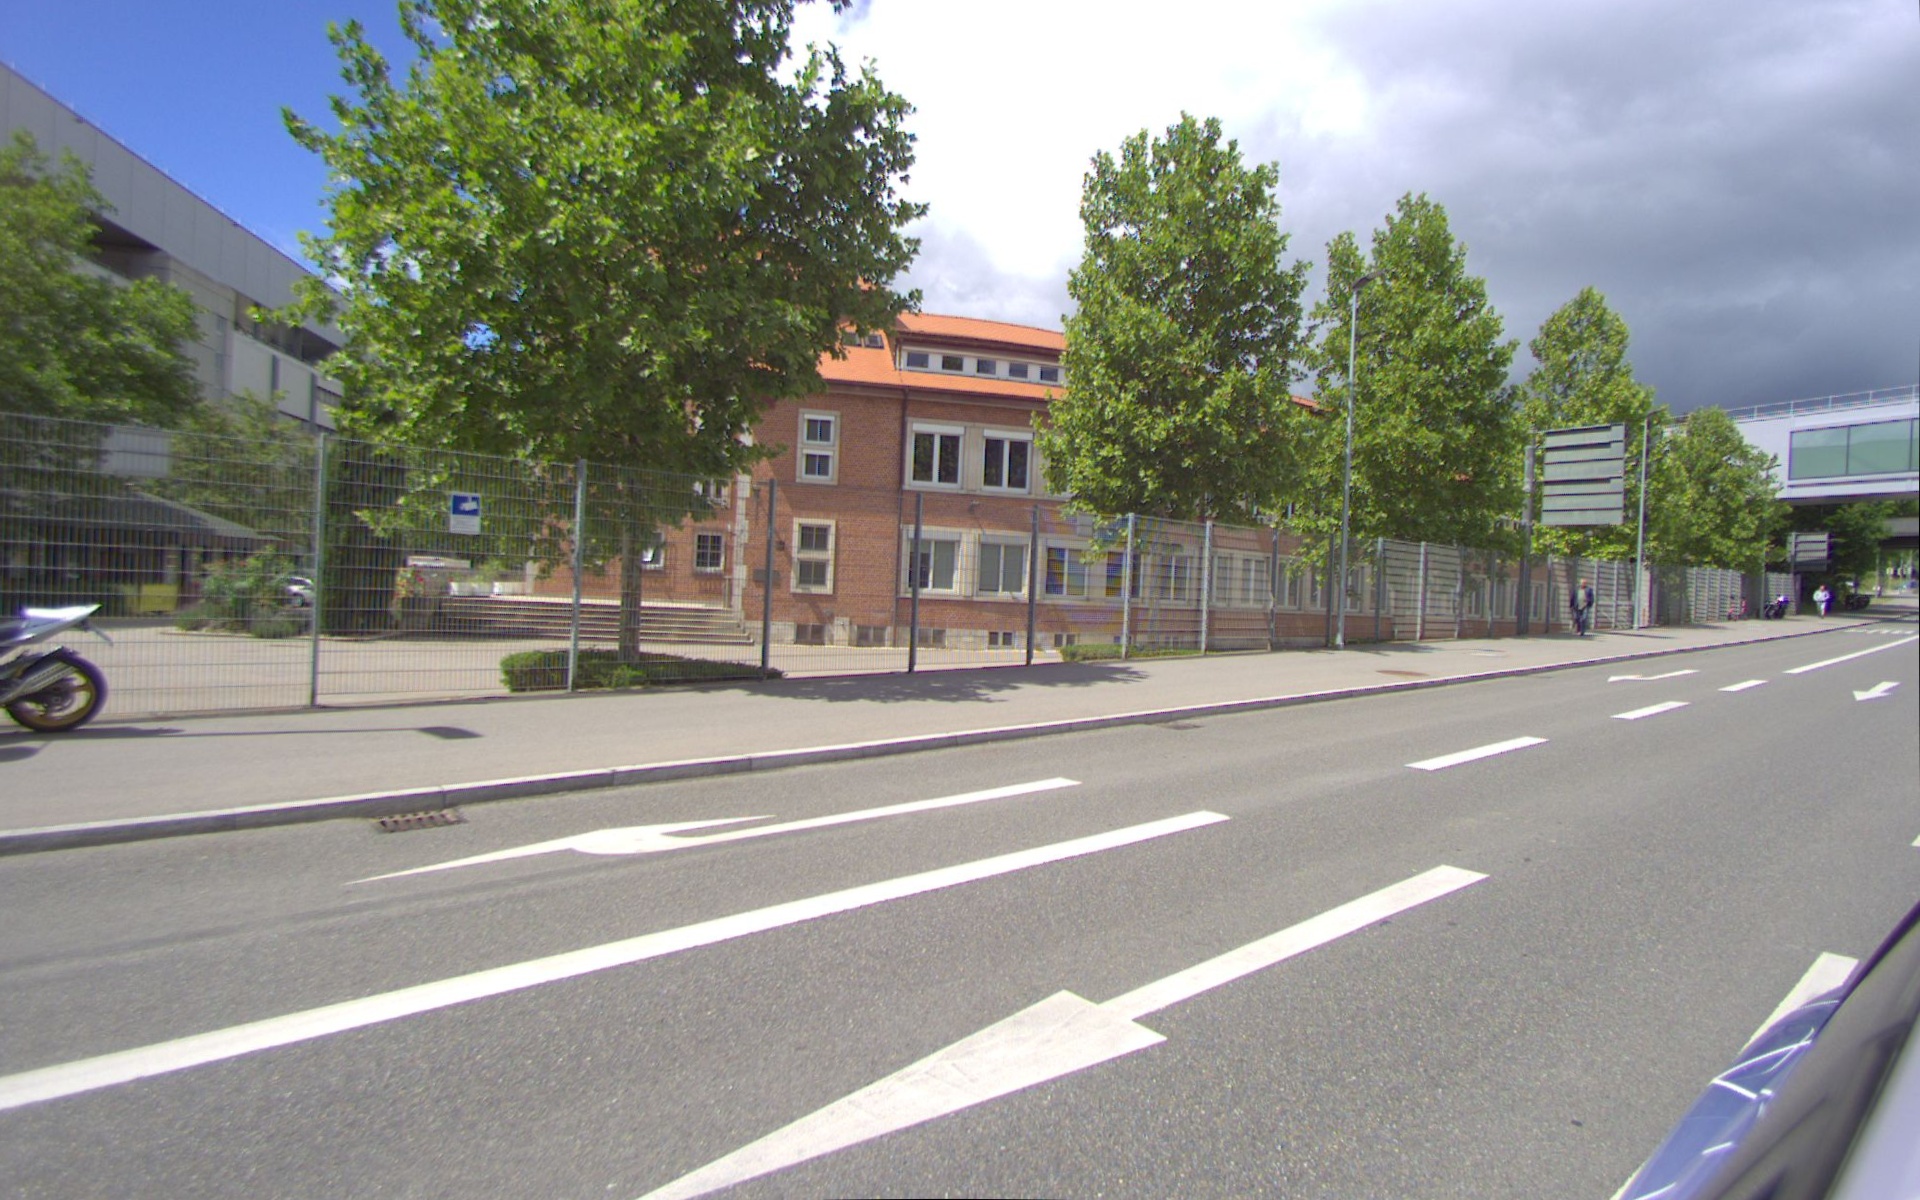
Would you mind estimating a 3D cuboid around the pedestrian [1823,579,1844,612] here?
[{"bbox_3d":[52.212,-0.275,60.473,1.078,1.911,0.790,0,2,-43],"label":"pedestrian"}]

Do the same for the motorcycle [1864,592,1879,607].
[{"bbox_3d":[70.989,-0.057,78.827,2.004,1.096,0.679,-1,2,-43],"label":"motorcycle"}]

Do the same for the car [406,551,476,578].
[{"bbox_3d":[-35.908,-2.462,70.158,3.916,1.805,2.004,-1,1,-13],"label":"car"}]

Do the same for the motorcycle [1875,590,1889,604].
[{"bbox_3d":[73.390,-0.248,80.555,2.144,1.096,0.679,-1,2,-43],"label":"motorcycle"}]

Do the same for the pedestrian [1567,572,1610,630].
[{"bbox_3d":[20.211,0.019,32.556,0.924,1.764,0.879,0,3,-42],"label":"pedestrian"}]

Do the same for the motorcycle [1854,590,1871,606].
[{"bbox_3d":[68.453,-0.139,76.723,2.076,1.168,0.679,0,2,-41],"label":"motorcycle"}]

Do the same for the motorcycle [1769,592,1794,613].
[{"bbox_3d":[44.518,0.107,54.815,2.209,1.077,0.669,0,4,-43],"label":"motorcycle"}]

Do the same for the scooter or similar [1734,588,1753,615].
[{"bbox_3d":[39.005,0.061,50.380,1.314,1.310,0.492,0,3,-42],"label":"scooter or similar"}]

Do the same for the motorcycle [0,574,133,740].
[{"bbox_3d":[-7.391,0.406,7.321,0.693,1.172,2.113,4,3,44],"label":"motorcycle"}]

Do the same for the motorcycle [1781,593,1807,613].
[{"bbox_3d":[46.845,0.167,56.825,2.467,1.077,0.709,-1,4,-43],"label":"motorcycle"}]
